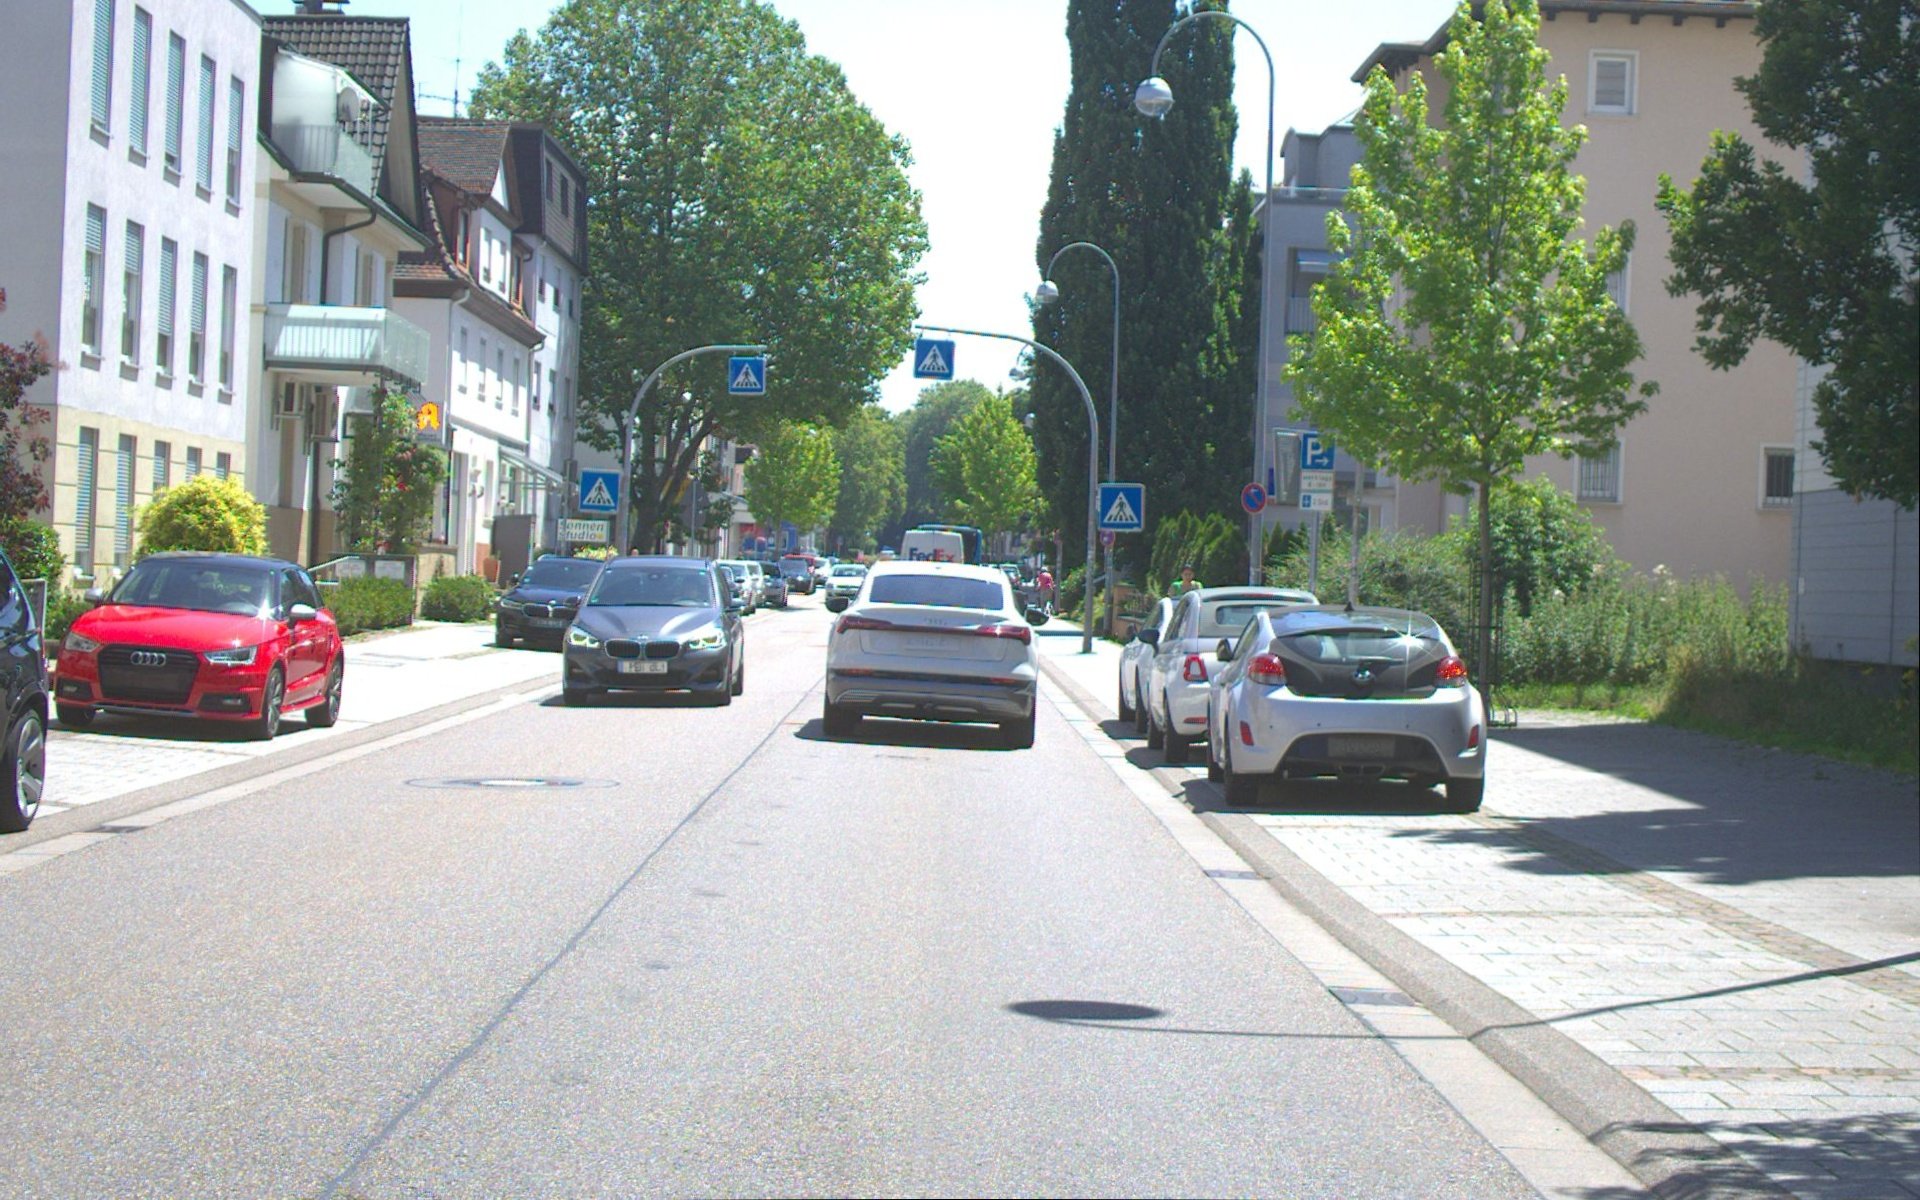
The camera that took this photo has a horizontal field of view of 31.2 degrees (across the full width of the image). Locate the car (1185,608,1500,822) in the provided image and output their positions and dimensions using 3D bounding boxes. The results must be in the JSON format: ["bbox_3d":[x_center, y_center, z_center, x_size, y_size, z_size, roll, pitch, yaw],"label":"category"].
[{"bbox_3d":[2.724,0.784,25.313,1.862,1.368,4.000,1,1,0],"label":"car"}]

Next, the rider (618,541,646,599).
[{"bbox_3d":[-8.939,-0.827,93.639,0.661,1.548,0.661,1,1,-1],"label":"rider"}]

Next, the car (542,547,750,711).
[{"bbox_3d":[-3.407,0.276,38.049,1.974,1.665,4.472,1,1,-2],"label":"car"}]

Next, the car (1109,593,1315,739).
[{"bbox_3d":[2.560,0.638,35.821,1.726,1.378,4.402,0,1,-1],"label":"car"}]

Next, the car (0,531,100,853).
[{"bbox_3d":[-5.695,0.426,16.814,1.725,1.614,4.571,5,1,0],"label":"car"}]

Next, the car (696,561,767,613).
[{"bbox_3d":[-7.078,-0.408,106.811,1.993,1.515,4.000,1,1,-1],"label":"car"}]

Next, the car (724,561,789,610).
[{"bbox_3d":[-6.679,-0.487,113.150,1.993,1.515,4.000,1,1,-1],"label":"car"}]

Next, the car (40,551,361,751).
[{"bbox_3d":[-6.147,0.367,28.243,1.649,1.414,3.905,4,1,1],"label":"car"}]

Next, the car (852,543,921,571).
[{"bbox_3d":[-4.564,-2.654,213.670,3.988,1.645,2.000,2,1,7],"label":"car"}]

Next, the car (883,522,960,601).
[{"bbox_3d":[-1.165,-1.136,101.367,2.069,2.189,5.139,2,1,-2],"label":"car"}]

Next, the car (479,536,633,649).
[{"bbox_3d":[-6.465,-0.145,55.435,1.926,1.714,4.472,1,1,0],"label":"car"}]

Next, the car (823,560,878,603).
[{"bbox_3d":[-4.096,-0.702,129.112,1.978,1.515,4.000,1,1,-1],"label":"car"}]

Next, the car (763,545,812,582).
[{"bbox_3d":[-7.396,-1.590,147.749,1.993,1.515,4.000,1,1,-1],"label":"car"}]

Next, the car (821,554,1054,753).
[{"bbox_3d":[-0.202,0.445,32.481,1.936,1.609,4.472,4,1,0],"label":"car"}]

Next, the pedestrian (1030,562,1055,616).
[{"bbox_3d":[2.678,-0.346,111.129,0.693,1.730,0.668,1,0,-5],"label":"pedestrian"}]

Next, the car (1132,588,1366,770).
[{"bbox_3d":[2.534,0.657,31.012,1.658,1.483,4.346,0,1,-1],"label":"car"}]

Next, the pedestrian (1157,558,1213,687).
[{"bbox_3d":[3.124,0.307,47.729,0.637,1.752,0.617,1,1,-5],"label":"pedestrian"}]
